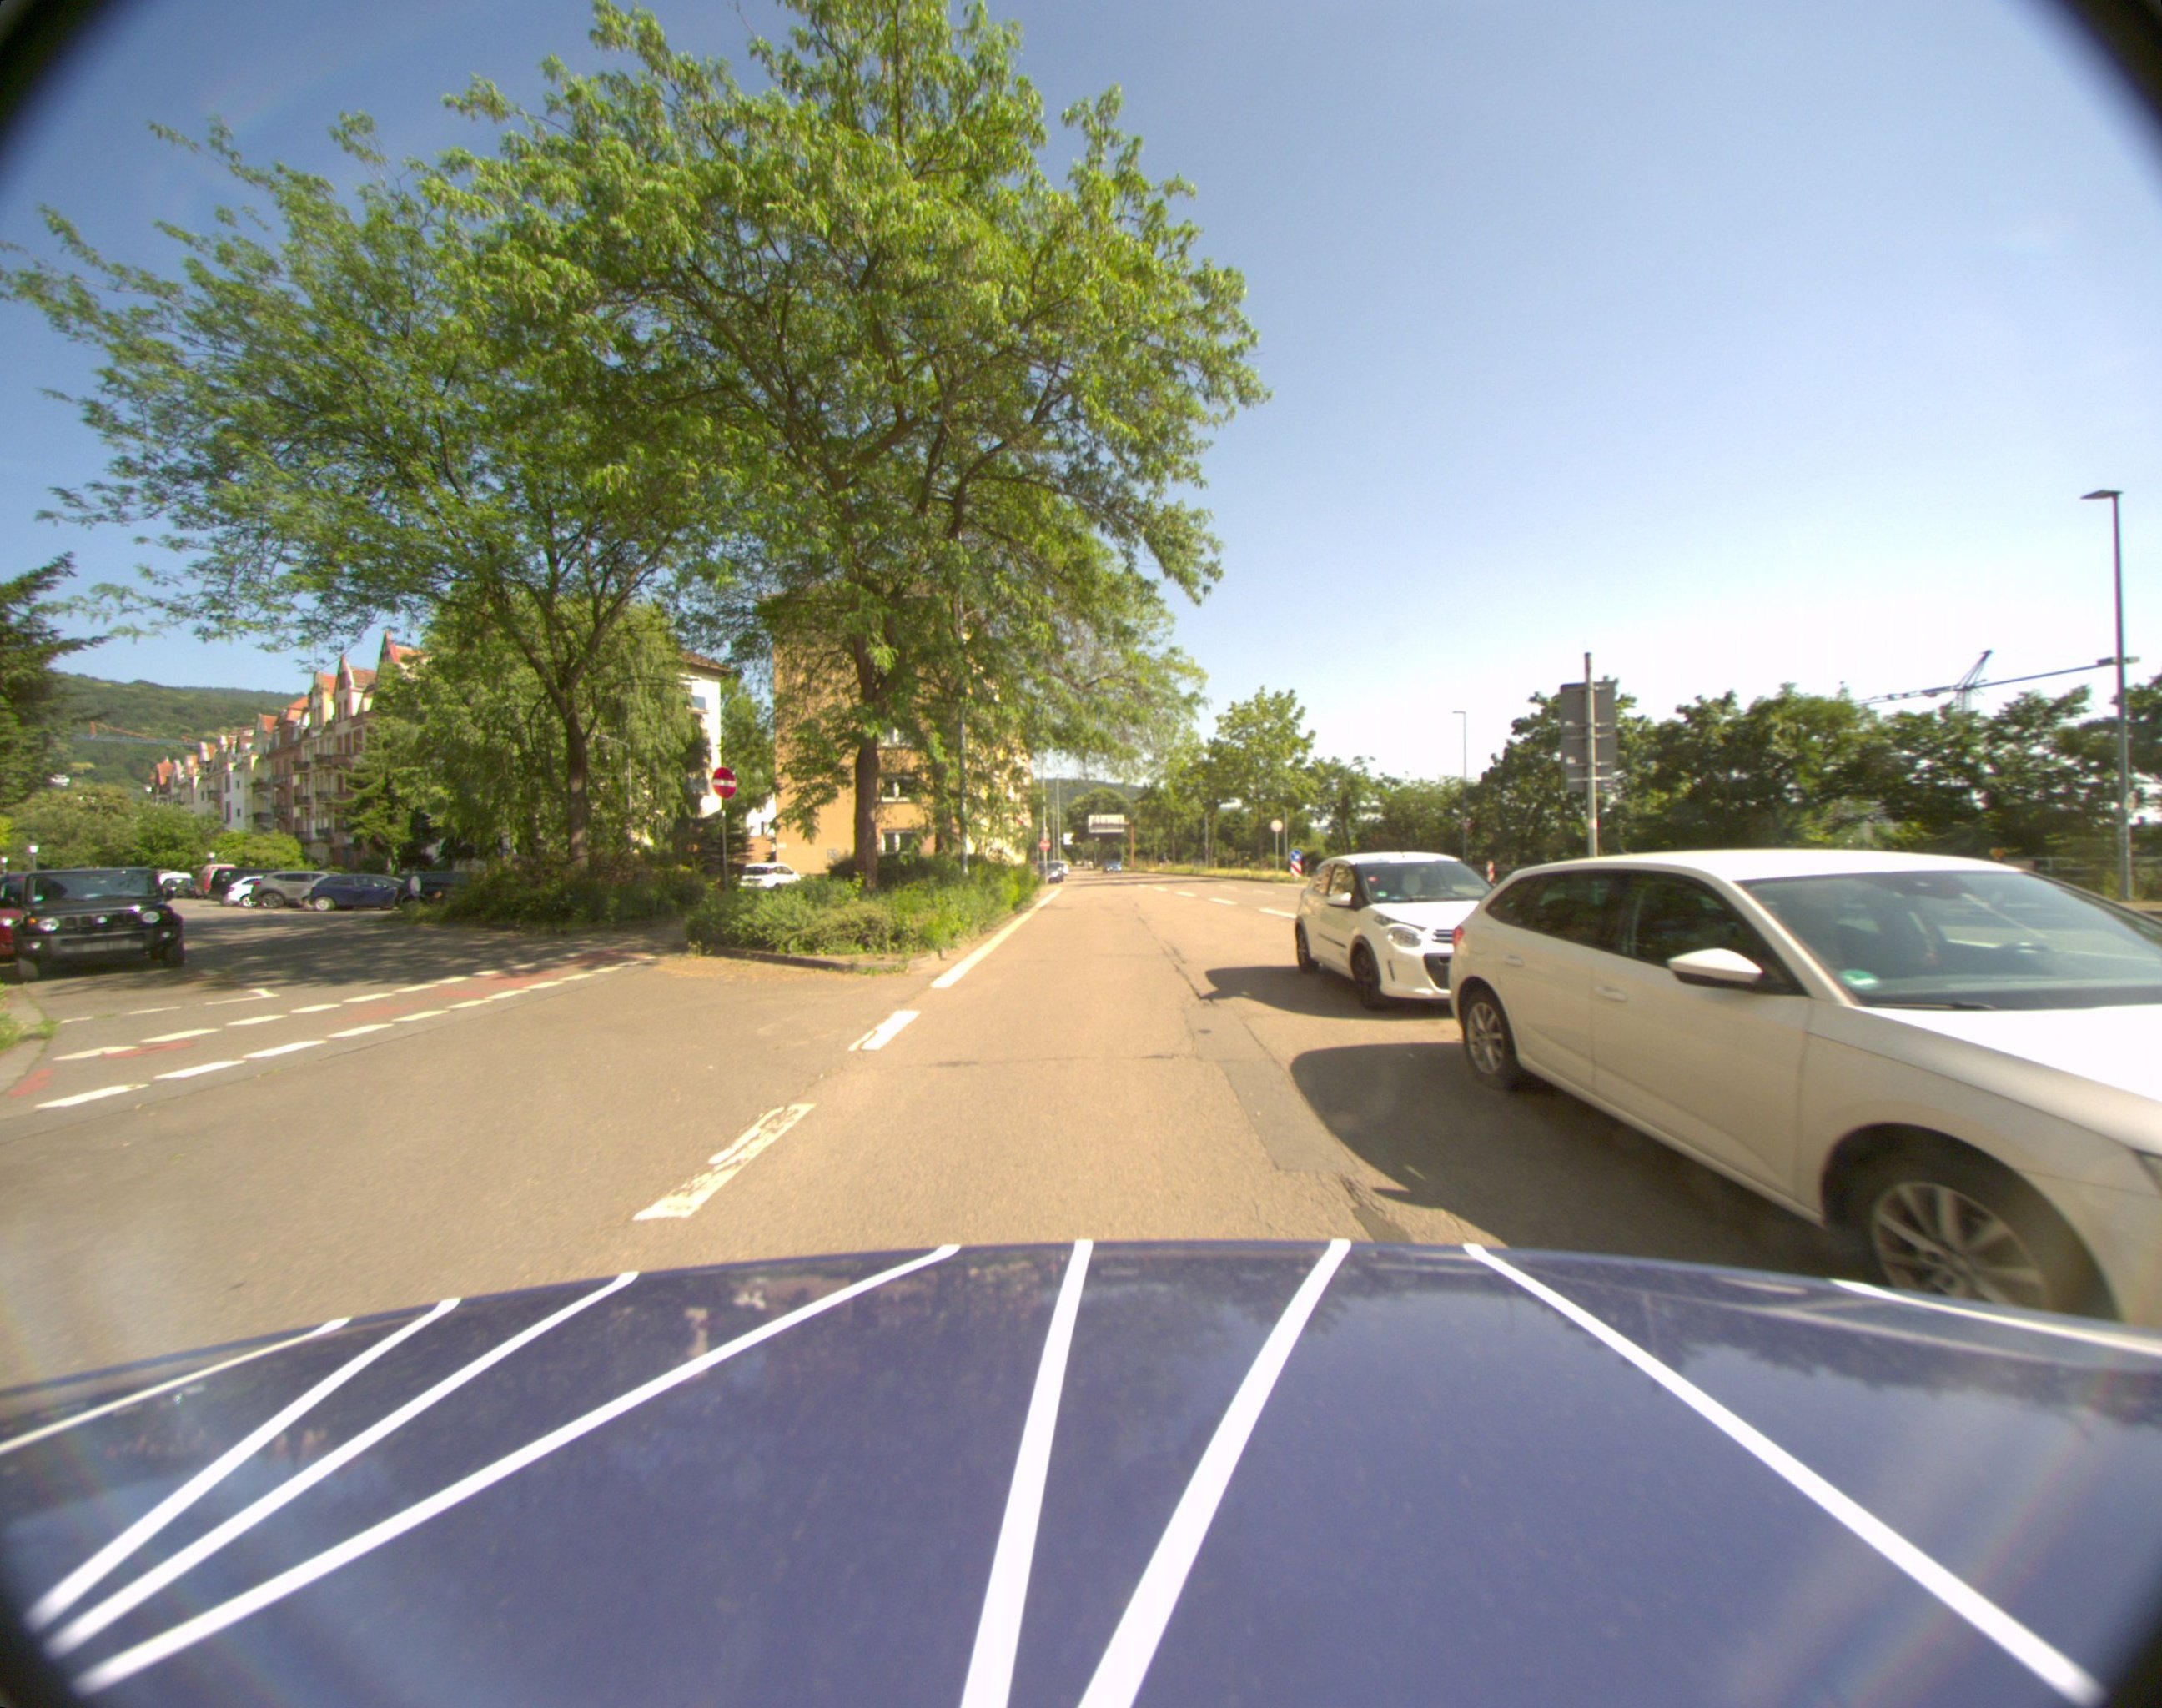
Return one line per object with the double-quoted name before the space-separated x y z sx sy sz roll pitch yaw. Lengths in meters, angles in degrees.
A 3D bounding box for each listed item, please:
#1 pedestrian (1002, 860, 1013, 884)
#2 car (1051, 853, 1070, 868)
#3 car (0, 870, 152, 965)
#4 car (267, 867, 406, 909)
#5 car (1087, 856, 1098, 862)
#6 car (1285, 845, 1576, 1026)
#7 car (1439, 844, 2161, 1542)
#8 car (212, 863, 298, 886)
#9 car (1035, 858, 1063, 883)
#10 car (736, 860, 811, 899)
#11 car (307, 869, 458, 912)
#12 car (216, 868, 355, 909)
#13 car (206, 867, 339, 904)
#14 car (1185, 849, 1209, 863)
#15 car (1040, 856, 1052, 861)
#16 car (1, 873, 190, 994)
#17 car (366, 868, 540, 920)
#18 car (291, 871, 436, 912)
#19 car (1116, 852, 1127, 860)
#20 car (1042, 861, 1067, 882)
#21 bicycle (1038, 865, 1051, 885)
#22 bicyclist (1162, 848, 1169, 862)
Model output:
"pedestrian" -4.978 1.199 51.570 0.657 1.600 0.824 -1 1 2
"car" -2.128 0.651 77.993 1.761 1.497 4.126 -2 0 -2
"car" -20.626 1.193 15.478 3.838 1.664 1.665 -1 1 32
"car" -33.294 1.485 34.136 4.003 1.718 1.866 -1 0 -18
"car" 2.699 1.316 183.220 1.652 1.408 3.965 -1 0 -16
"car" 3.465 0.705 8.269 1.623 1.496 3.462 -2 0 2
"car" 3.251 0.727 3.106 1.725 1.496 4.132 -1 0 2
"car" -57.729 1.421 53.145 1.903 1.418 4.008 0 1 41
"car" -2.130 1.041 49.809 1.708 1.505 4.090 -1 0 -3
"car" -14.221 1.130 35.401 1.659 1.631 3.786 -1 0 5
"car" -28.090 1.436 30.730 4.003 1.504 1.931 -1 0 -20
"car" -36.968 1.555 35.432 4.003 1.718 1.866 -1 0 -18
"car" -39.591 1.513 37.334 4.004 1.630 1.906 -1 0 -21
"car" 14.741 0.229 96.799 1.999 1.724 4.728 -1 0 -3
"car" -10.187 1.251 219.130 2.002 1.519 4.688 1 0 -23
"car" -16.250 1.170 12.533 3.579 1.645 1.690 -1 1 36
"car" -19.569 1.220 23.841 3.772 1.433 1.779 -1 0 -12
"car" -30.421 1.555 32.356 4.003 1.524 1.931 -1 0 -20
"car" 8.422 0.447 158.983 1.803 1.521 3.998 -1 0 -5
"car" -1.887 1.231 54.484 1.715 1.453 4.255 -1 0 -2
"bicycle" -2.165 1.230 45.235 0.704 1.117 1.744 -1 0 -5
"bicyclist" 11.778 0.154 105.633 0.698 1.821 1.016 -1 1 -6
